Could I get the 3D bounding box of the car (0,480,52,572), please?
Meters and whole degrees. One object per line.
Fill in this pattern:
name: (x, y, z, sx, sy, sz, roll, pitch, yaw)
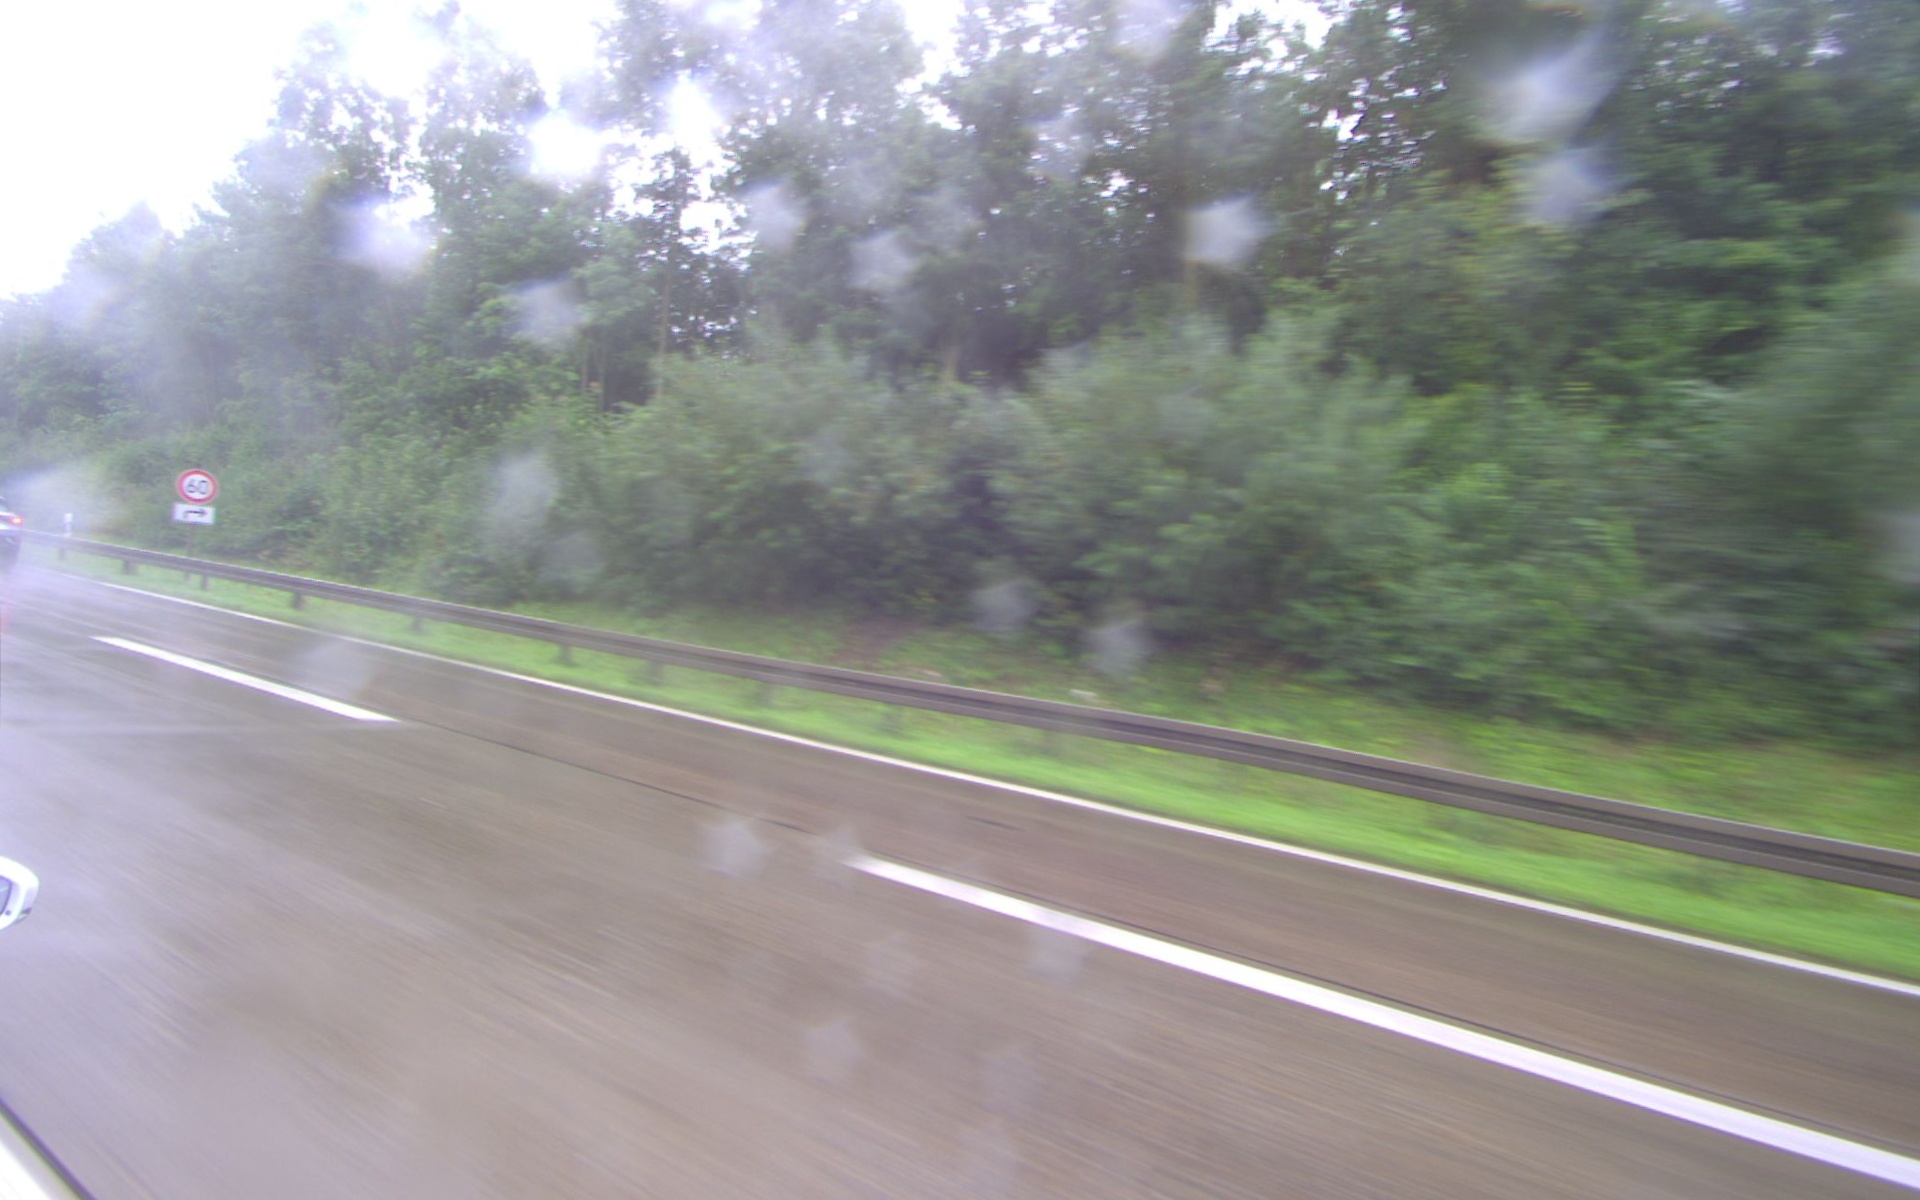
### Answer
car: (-21.887, -1.805, 21.570, 5.569, 1.771, 1.997, 6, -2, 32)
